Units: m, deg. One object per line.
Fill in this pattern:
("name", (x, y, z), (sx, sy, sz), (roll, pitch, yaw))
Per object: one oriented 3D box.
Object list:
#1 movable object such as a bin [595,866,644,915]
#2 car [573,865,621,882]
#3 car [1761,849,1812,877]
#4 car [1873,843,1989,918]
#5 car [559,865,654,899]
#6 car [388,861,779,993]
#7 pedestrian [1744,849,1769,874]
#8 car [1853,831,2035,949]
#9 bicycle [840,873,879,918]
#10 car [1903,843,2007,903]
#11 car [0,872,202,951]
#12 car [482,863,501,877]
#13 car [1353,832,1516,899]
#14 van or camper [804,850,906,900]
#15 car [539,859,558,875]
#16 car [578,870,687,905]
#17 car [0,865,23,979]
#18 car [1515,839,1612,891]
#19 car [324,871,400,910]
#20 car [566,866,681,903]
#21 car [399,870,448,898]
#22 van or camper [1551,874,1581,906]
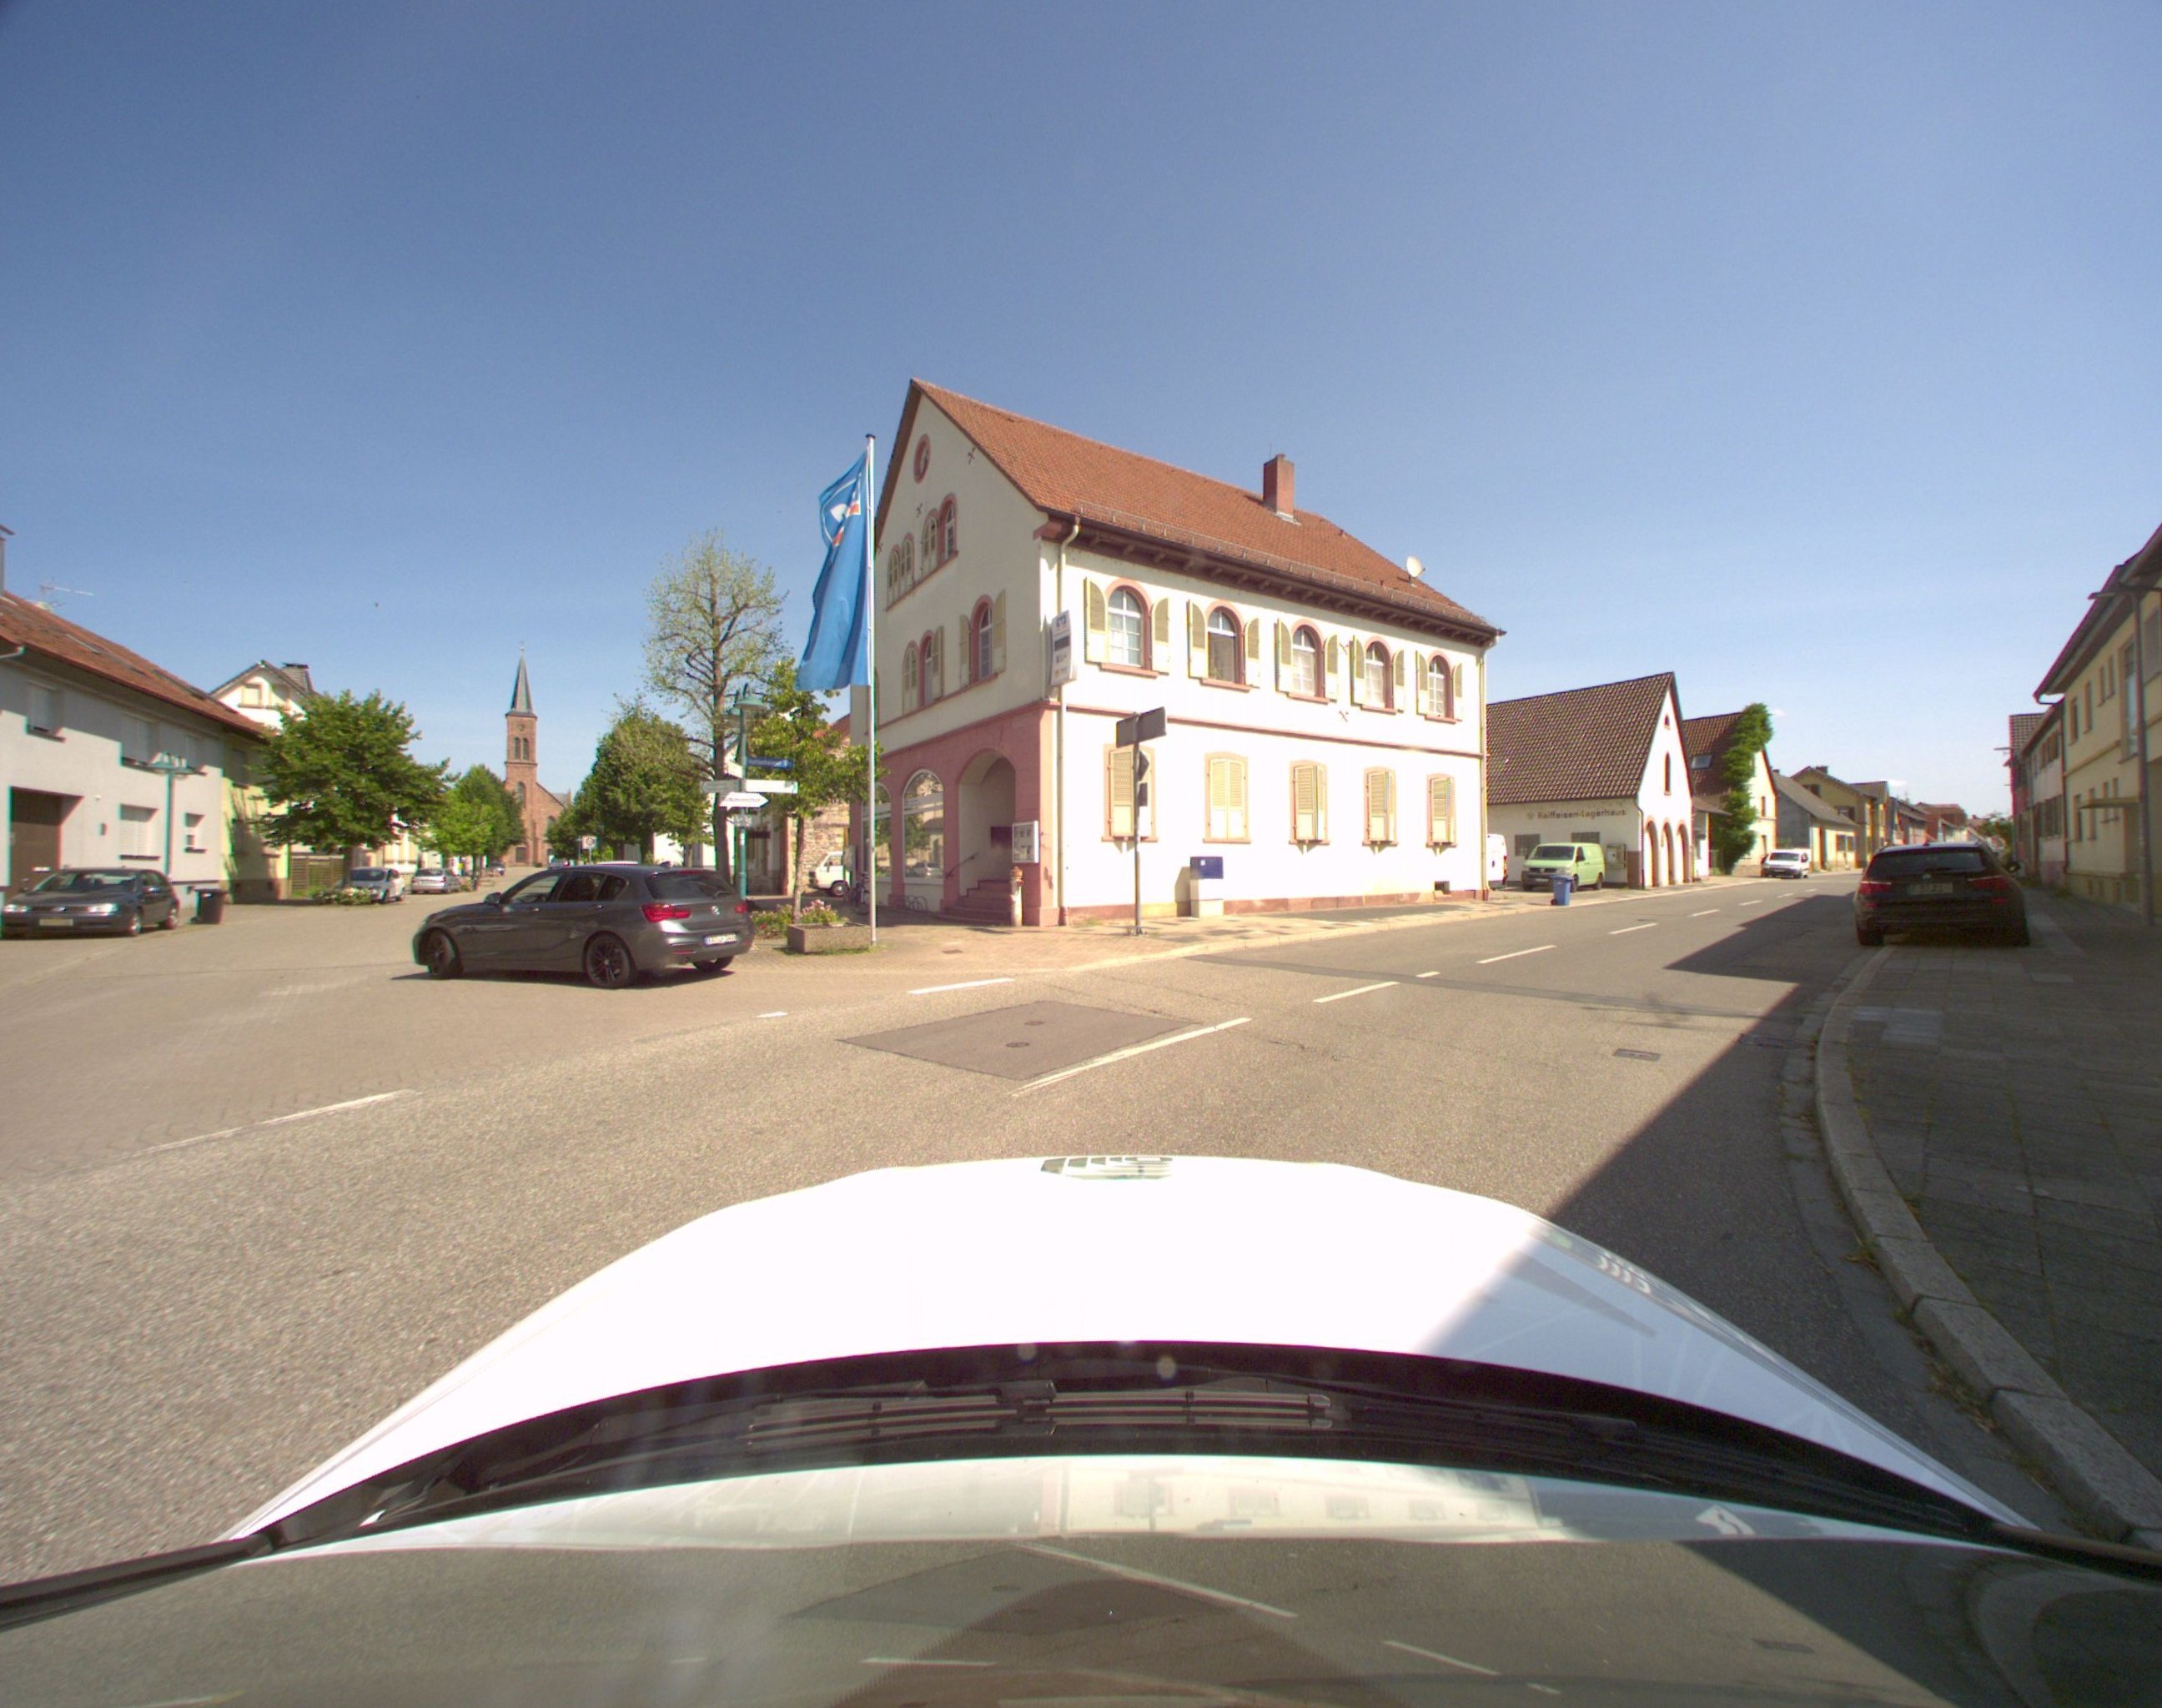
("movable object such as a bin", (-13.186, 1.017, 23.297), (1.195, 1.338, 0.781), (0, -1, -30))
("car", (-48.607, 1.925, 81.768), (4.017, 1.618, 1.978), (0, -1, -35))
("car", (43.369, 0.503, 50.032), (4.454, 1.647, 1.839), (0, -1, -43))
("car", (21.931, 0.618, 20.962), (4.271, 1.728, 1.882), (0, 0, -42))
("car", (-24.504, 1.409, 42.101), (4.179, 1.568, 1.979), (0, 0, -33))
("car", (-6.228, 0.821, 10.319), (4.223, 1.376, 1.748), (1, -1, 15))
("pedestrian", (42.905, 0.452, 51.717), (1.022, 1.552, 1.126), (0, 0, -43))
("car", (15.051, 0.552, 14.148), (5.208, 1.703, 1.828), (0, -3, -41))
("bicycle", (-5.996, 1.098, 22.004), (0.597, 1.136, 1.731), (0, -1, -30))
("car", (25.921, 0.527, 24.208), (4.022, 1.618, 1.976), (0, -1, -43))
("car", (-21.484, 1.143, 18.085), (2.001, 1.440, 5.150), (0, 0, -40))
("car", (-75.244, 2.030, 103.944), (2.009, 1.816, 3.955), (0, 0, -37))
("car", (12.594, 0.382, 29.402), (2.129, 2.197, 5.141), (0, 0, -31))
("van or camper", (-9.774, 0.856, 35.159), (4.006, 2.014, 1.984), (0, 0, -25))
("car", (-78.795, 1.912, 120.611), (2.260, 2.279, 4.456), (2, -3, -33))
("car", (-19.142, 1.386, 34.788), (3.952, 1.344, 1.979), (0, 0, -33))
("car", (-13.690, 0.859, 8.983), (1.866, 1.440, 4.457), (0, -1, -45))
("car", (19.690, 0.419, 33.146), (4.694, 1.964, 1.976), (0, -1, -41))
("car", (-31.466, 1.545, 35.759), (2.008, 1.574, 3.957), (0, -1, -34))
("car", (-22.528, 1.453, 40.170), (4.837, 1.623, 1.979), (0, 0, -33))
("car", (-36.742, 1.646, 45.488), (2.010, 1.464, 3.953), (1, -1, -40))
("van or camper", (14.868, 1.100, 24.969), (0.603, 0.951, 0.585), (0, 0, -36))
